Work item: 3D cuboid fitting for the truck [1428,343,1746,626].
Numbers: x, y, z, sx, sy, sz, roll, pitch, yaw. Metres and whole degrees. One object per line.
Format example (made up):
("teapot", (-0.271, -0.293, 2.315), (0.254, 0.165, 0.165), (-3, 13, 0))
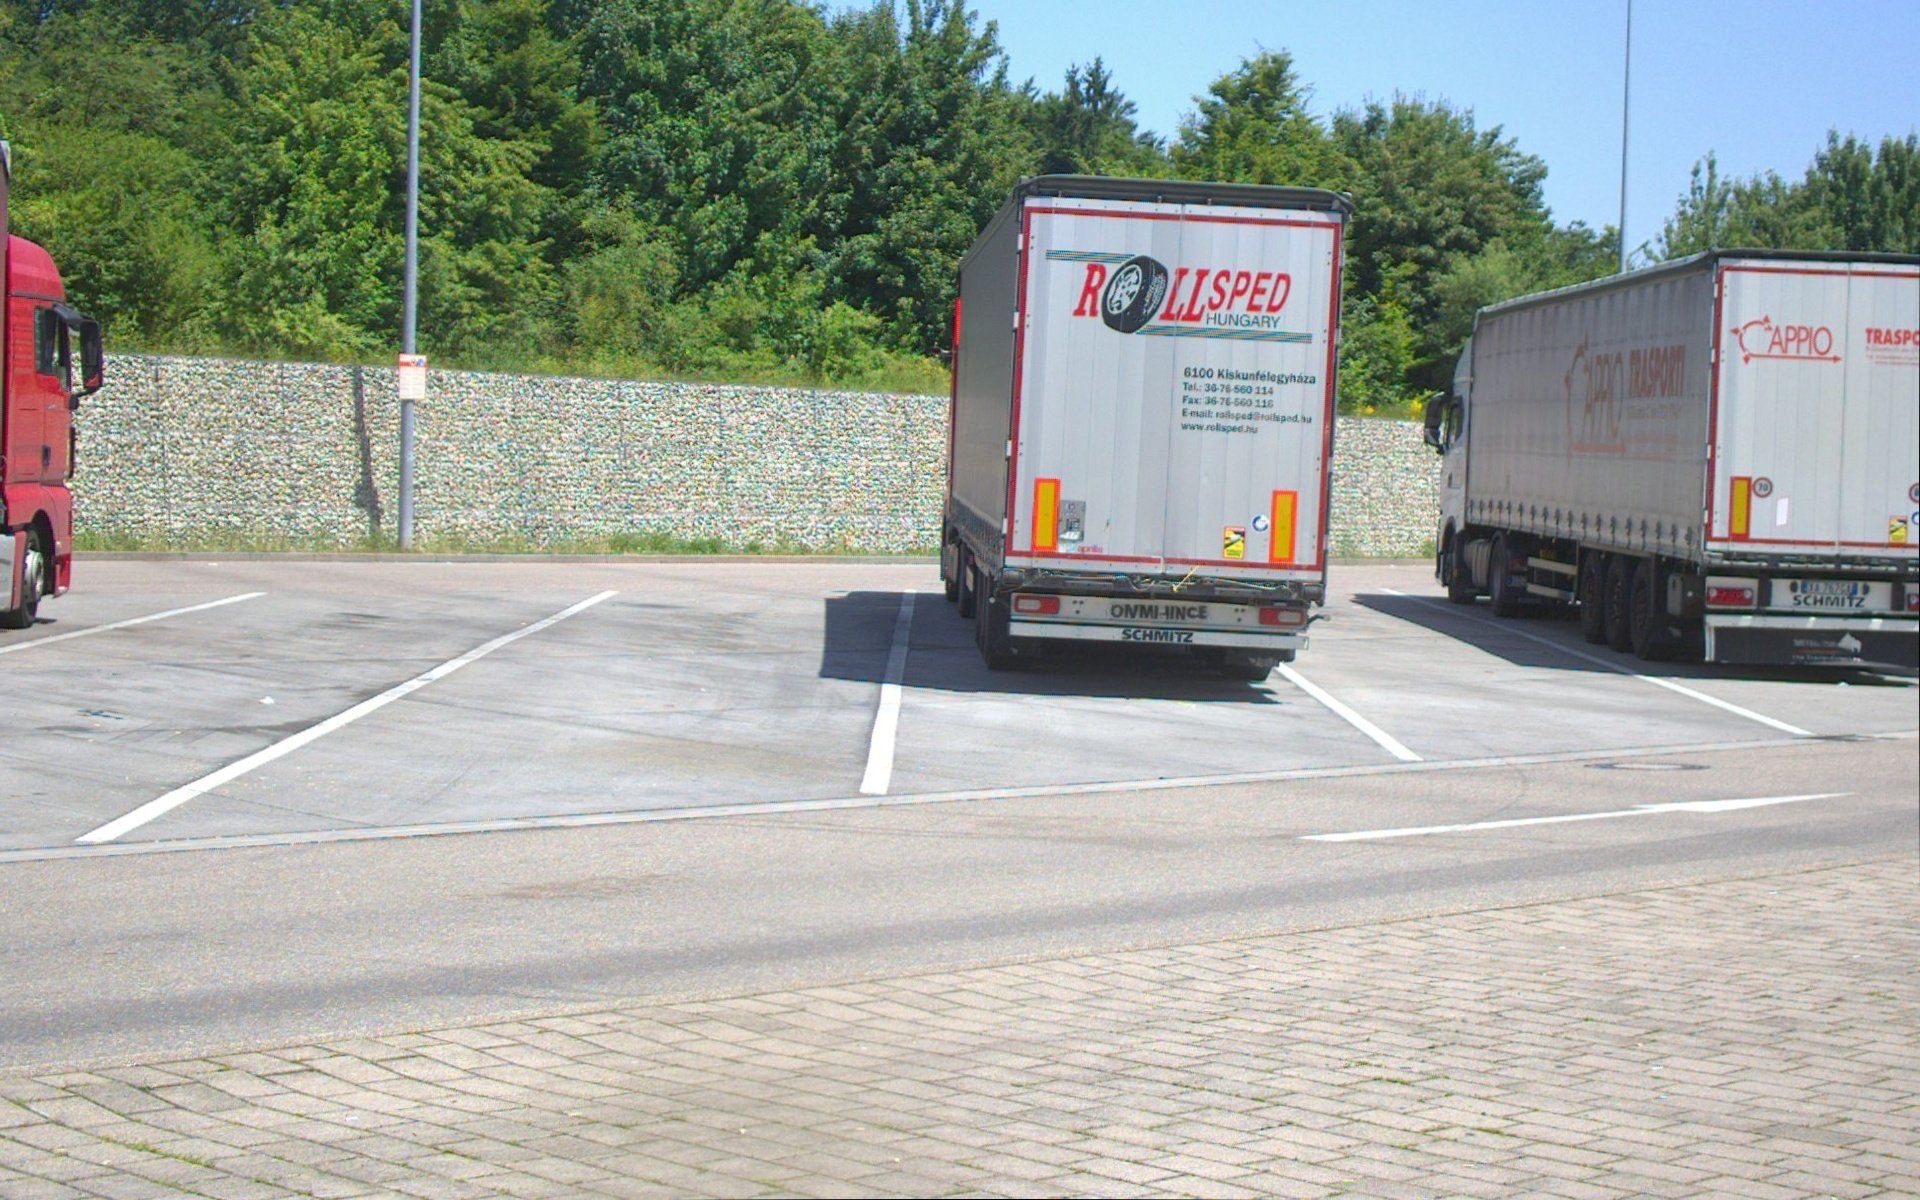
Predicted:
("truck", (8.089, -1.561, 45.107), (2.865, 3.351, 5.975), (2, 3, -1))

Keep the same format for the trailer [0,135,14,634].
("trailer", (-9.163, -1.461, 21.347), (2.821, 4.057, 13.765), (2, 3, -1))

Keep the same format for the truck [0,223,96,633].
("truck", (-9.250, -1.450, 28.166), (2.812, 3.351, 5.975), (2, 3, -1))

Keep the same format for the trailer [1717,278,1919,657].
("trailer", (11.788, -1.498, 39.353), (2.858, 4.095, 13.765), (2, 3, -1))

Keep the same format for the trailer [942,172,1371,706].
("trailer", (1.461, -1.562, 33.087), (2.858, 3.958, 13.765), (2, 3, -1))

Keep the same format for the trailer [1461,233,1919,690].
("trailer", (8.190, -1.582, 38.341), (2.858, 4.095, 13.765), (2, 3, -1))

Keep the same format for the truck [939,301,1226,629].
("truck", (1.278, -1.566, 39.289), (2.865, 3.351, 5.975), (2, 3, -1))
